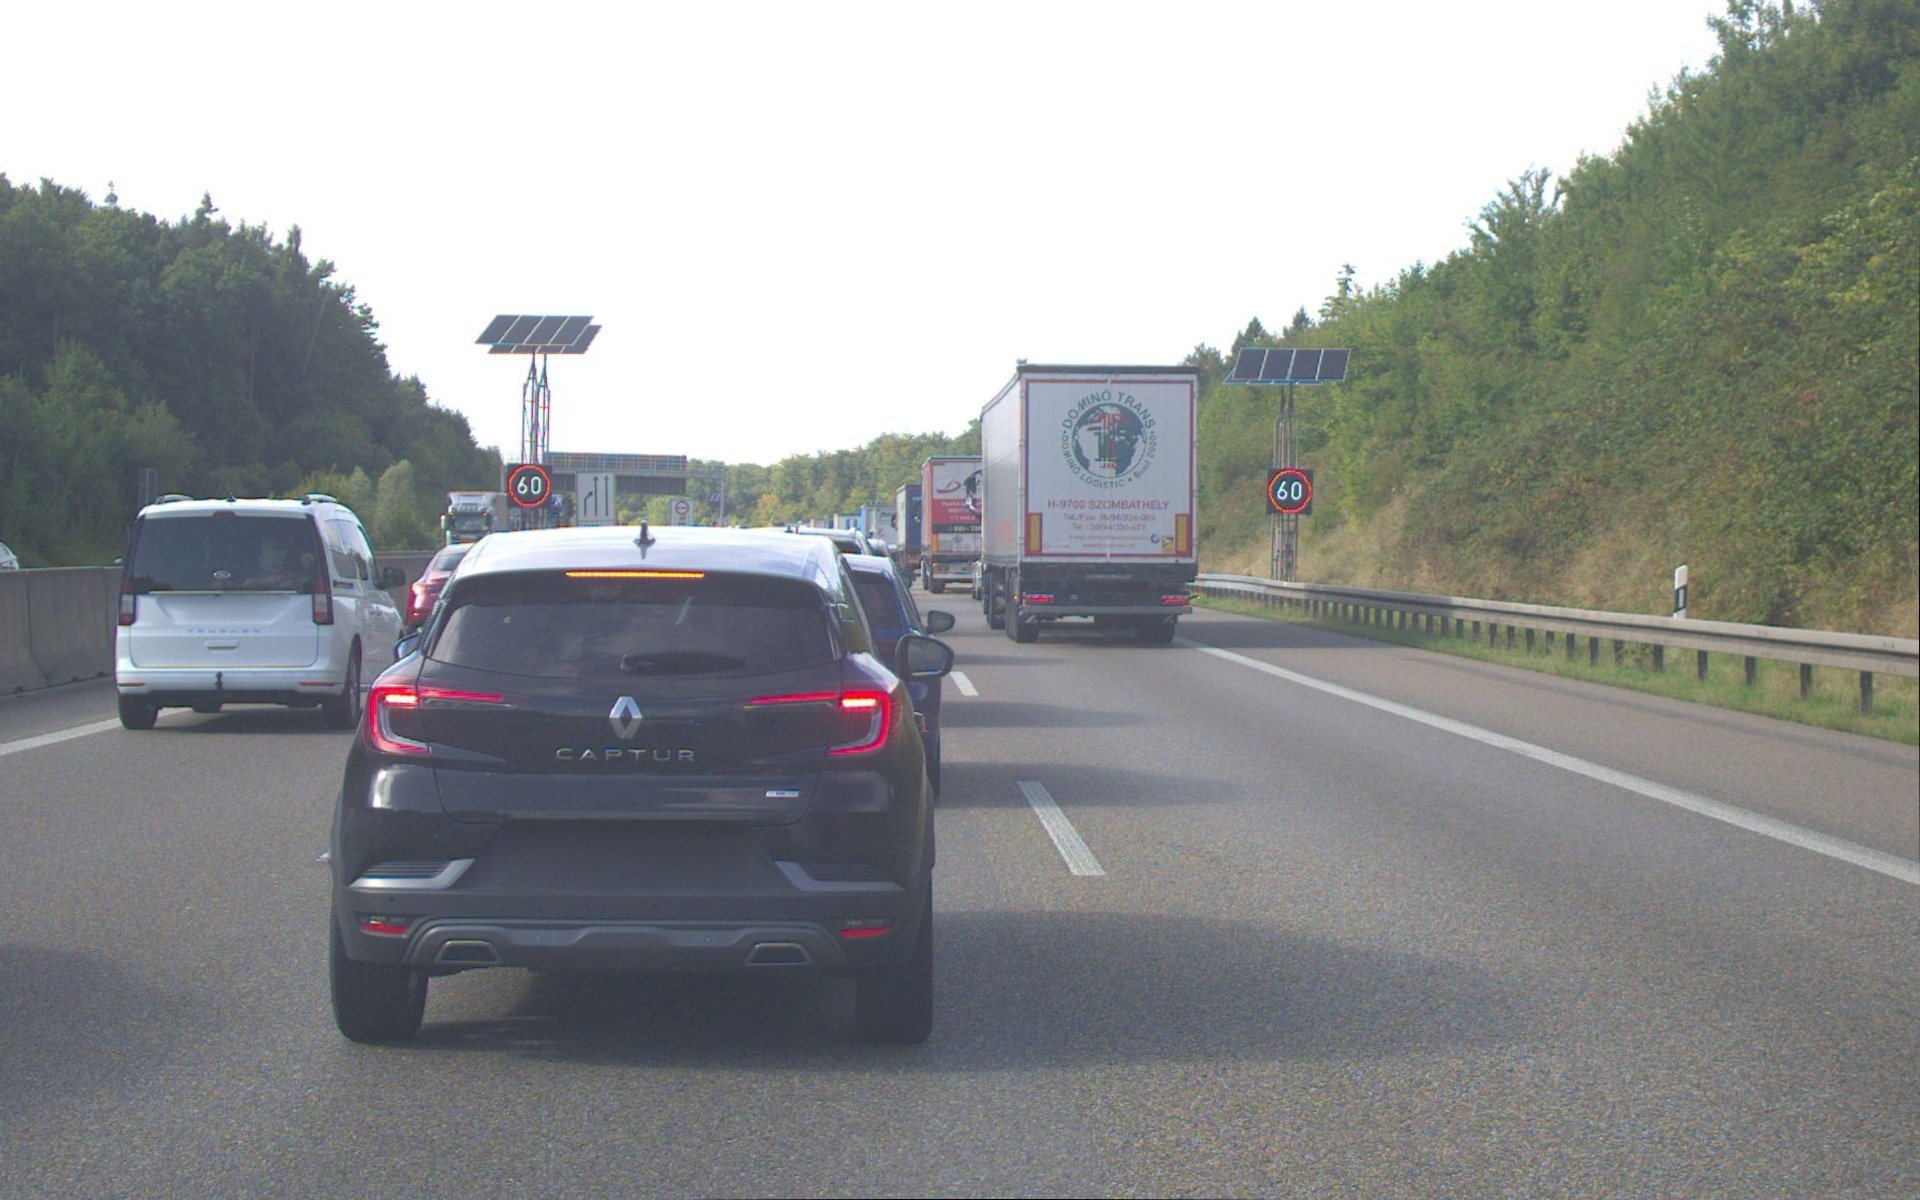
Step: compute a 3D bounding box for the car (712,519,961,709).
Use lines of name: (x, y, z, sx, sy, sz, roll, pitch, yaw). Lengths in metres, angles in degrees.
car: (-1.020, 0.092, 29.753, 1.993, 1.509, 4.000, 1, 1, -1)

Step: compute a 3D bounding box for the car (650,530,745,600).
car: (-6.287, -0.858, 82.654, 1.993, 1.607, 4.000, 0, 1, -1)

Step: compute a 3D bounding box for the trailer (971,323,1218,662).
trailer: (1.875, -1.610, 54.092, 3.002, 4.645, 13.291, 1, 1, -1)

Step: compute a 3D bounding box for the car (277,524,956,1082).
car: (-0.963, 0.534, 11.580, 1.804, 1.547, 4.000, 0, 1, 1)

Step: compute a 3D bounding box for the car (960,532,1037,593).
car: (0.978, -0.973, 89.852, 1.804, 1.527, 3.926, 1, 1, -2)

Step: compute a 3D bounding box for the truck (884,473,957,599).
truck: (-1.775, -2.866, 157.204, 3.166, 5.486, 12.738, 1, 1, 0)

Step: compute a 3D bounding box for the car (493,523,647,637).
car: (-6.104, -0.323, 54.164, 1.993, 1.716, 4.000, 1, 1, -1)

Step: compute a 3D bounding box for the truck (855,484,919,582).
truck: (-4.166, -3.825, 199.712, 3.166, 5.486, 12.737, 1, 1, 1)

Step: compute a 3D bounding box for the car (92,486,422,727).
car: (-5.627, 0.029, 28.046, 1.911, 1.783, 4.418, 1, 1, -2)

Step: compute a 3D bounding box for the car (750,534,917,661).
car: (-1.560, -0.049, 43.592, 1.993, 1.509, 4.000, 1, 1, -1)

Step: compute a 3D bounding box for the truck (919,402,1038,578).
truck: (0.499, -3.220, 105.283, 3.365, 5.027, 12.738, 1, 1, 0)

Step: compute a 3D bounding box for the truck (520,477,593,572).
truck: (-21.471, -4.018, 183.441, 2.890, 4.917, 10.081, 1, 1, -1)

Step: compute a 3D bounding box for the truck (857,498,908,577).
truck: (-5.219, -4.200, 234.157, 3.166, 5.142, 12.738, 1, 1, 0)

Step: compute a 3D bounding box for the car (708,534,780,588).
car: (-6.631, -1.218, 106.014, 1.993, 1.607, 4.000, 0, 1, -1)

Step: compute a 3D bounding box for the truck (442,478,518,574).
truck: (-26.091, -4.015, 187.315, 2.890, 5.075, 10.081, 1, 1, -1)

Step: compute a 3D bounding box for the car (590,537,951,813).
car: (-1.076, 0.398, 21.122, 1.993, 1.509, 4.000, 1, 1, -1)

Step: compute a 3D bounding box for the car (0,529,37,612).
car: (-21.922, -0.665, 75.917, 1.852, 1.803, 4.925, 1, 1, -1)

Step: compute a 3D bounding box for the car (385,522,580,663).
car: (-5.833, -0.107, 42.378, 1.855, 1.635, 3.926, 1, 1, 0)

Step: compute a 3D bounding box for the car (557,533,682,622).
car: (-6.404, -0.431, 65.009, 1.993, 1.607, 4.000, 1, 1, -1)

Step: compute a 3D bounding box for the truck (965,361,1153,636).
truck: (1.685, -1.777, 61.360, 2.997, 4.651, 5.940, 0, 1, -1)
